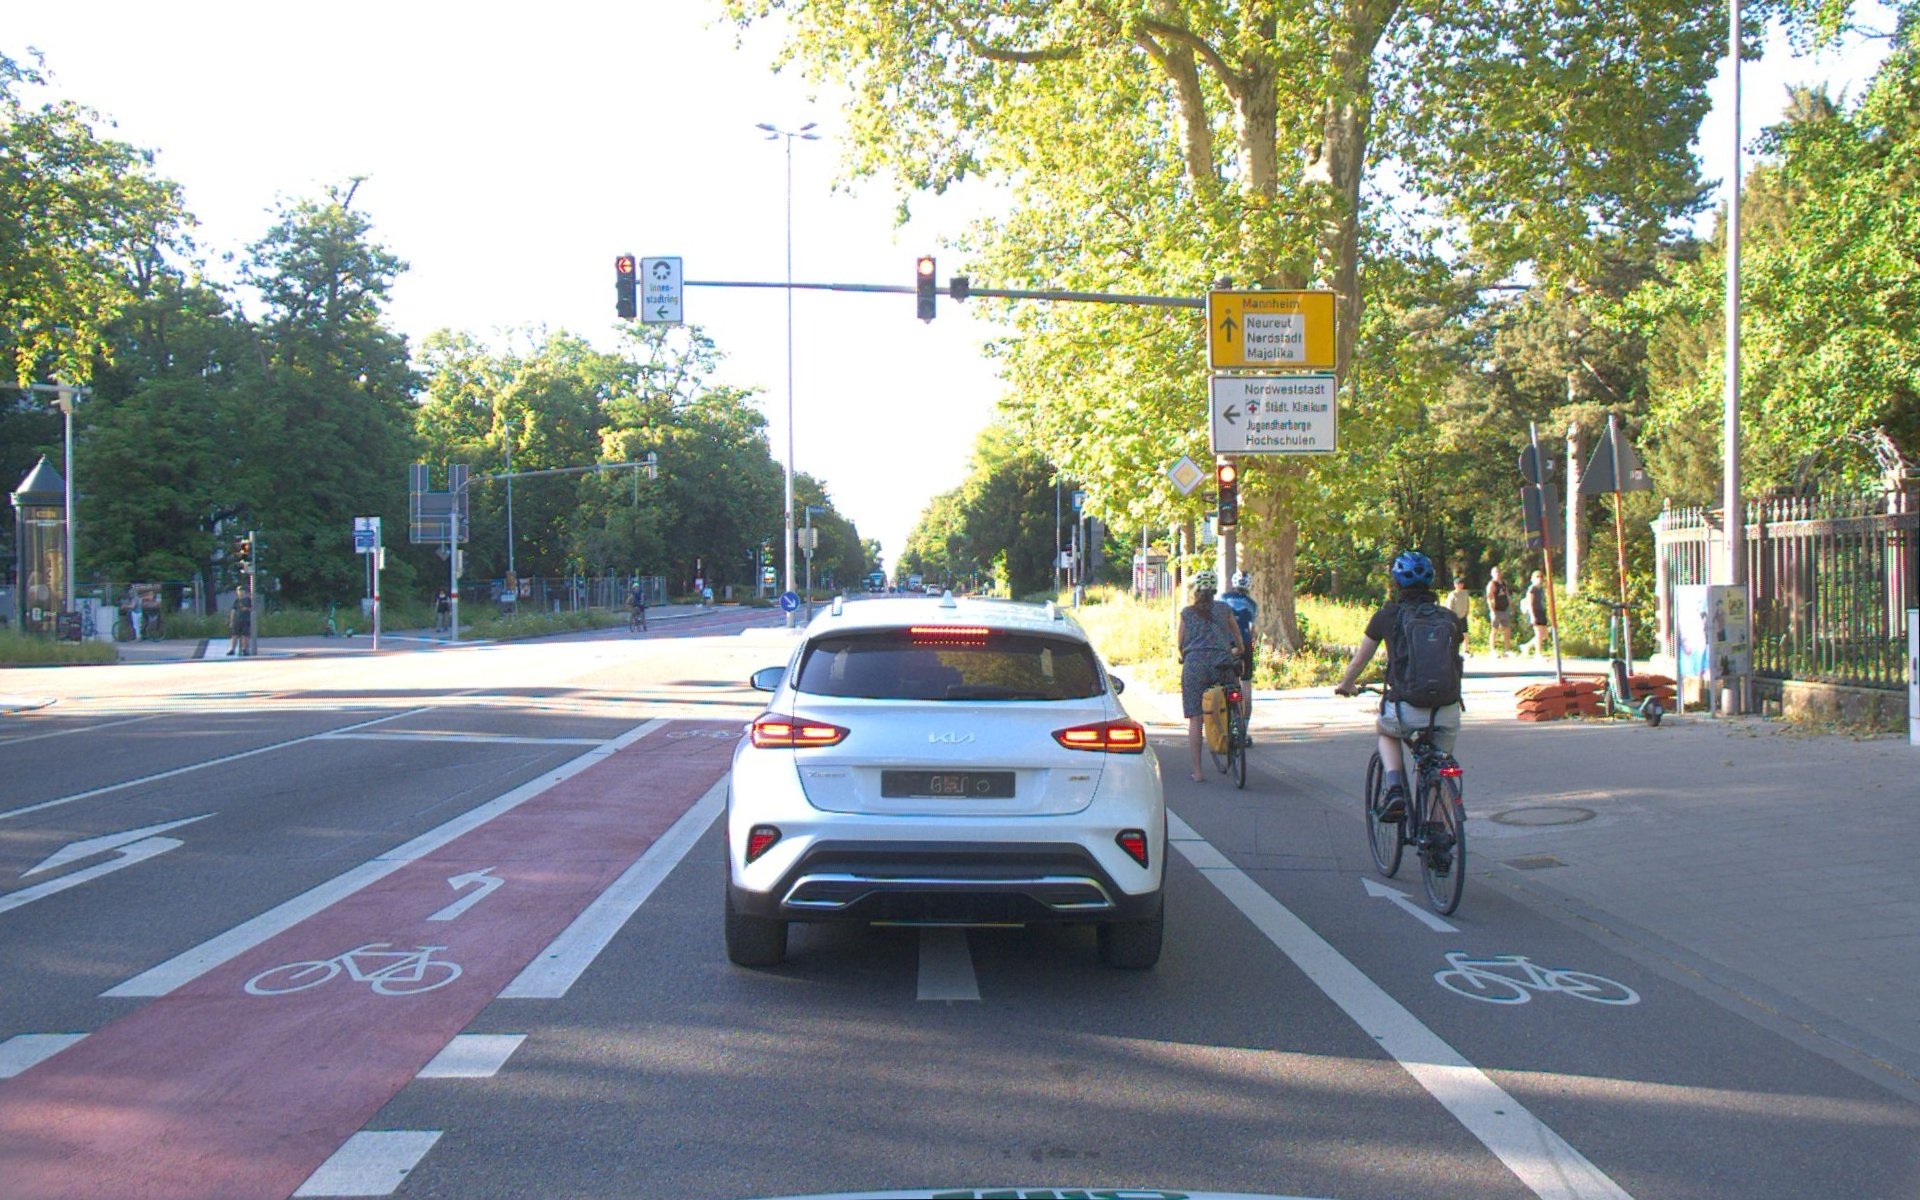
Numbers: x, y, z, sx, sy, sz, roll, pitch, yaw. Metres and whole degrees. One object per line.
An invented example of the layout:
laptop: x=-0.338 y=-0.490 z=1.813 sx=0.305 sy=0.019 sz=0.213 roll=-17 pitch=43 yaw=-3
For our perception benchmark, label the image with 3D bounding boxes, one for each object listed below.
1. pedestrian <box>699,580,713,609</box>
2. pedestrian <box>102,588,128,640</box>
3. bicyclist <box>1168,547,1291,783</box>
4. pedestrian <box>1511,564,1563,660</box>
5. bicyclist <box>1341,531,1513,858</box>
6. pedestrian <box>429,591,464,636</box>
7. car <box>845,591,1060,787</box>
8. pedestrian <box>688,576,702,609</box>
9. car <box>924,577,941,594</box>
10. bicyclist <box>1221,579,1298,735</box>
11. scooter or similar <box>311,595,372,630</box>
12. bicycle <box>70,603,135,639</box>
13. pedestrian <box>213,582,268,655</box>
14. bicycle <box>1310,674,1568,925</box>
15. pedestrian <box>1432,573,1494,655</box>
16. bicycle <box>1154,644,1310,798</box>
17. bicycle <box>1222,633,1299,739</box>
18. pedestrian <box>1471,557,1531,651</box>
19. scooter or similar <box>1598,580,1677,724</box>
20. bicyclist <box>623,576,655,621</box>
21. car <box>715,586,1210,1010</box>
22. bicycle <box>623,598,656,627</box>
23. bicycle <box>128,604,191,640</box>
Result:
pedestrian: x=-15.953 y=-0.362 z=104.023 sx=0.769 sy=1.817 sz=0.751 roll=0 pitch=0 yaw=0
pedestrian: x=-27.355 y=0.442 z=53.536 sx=0.617 sy=1.671 sz=0.444 roll=0 pitch=0 yaw=-11
bicyclist: x=2.176 y=0.505 z=13.485 sx=0.738 sy=1.827 sz=1.164 roll=1 pitch=0 yaw=-2
pedestrian: x=10.690 y=0.217 z=30.643 sx=0.676 sy=1.729 sz=0.643 roll=-1 pitch=0 yaw=-7
bicyclist: x=2.421 y=0.472 z=8.641 sx=0.652 sy=1.630 sz=0.720 roll=1 pitch=0 yaw=-2
pedestrian: x=-18.953 y=0.502 z=61.058 sx=1.067 sy=1.631 sz=0.999 roll=-1 pitch=0 yaw=-7
car: x=-0.129 y=0.698 z=14.979 sx=1.694 sy=1.509 sz=3.515 roll=-1 pitch=1 yaw=-3
pedestrian: x=-16.795 y=-0.458 z=104.671 sx=0.627 sy=2.049 sz=0.754 roll=0 pitch=0 yaw=12
car: x=-3.388 y=-1.754 z=204.835 sx=1.953 sy=2.049 sz=3.999 roll=-1 pitch=1 yaw=-1
bicyclist: x=3.009 y=0.561 z=16.648 sx=0.543 sy=1.504 sz=0.716 roll=-3 pitch=0 yaw=-2
scooter or similar: x=-20.927 y=0.424 z=55.979 sx=0.697 sy=1.144 sz=1.916 roll=0 pitch=0 yaw=32
bicycle: x=-27.878 y=0.679 z=53.805 sx=1.826 sy=1.168 sz=0.442 roll=0 pitch=0 yaw=-8
pedestrian: x=-20.403 y=0.516 z=46.914 sx=0.974 sy=2.049 sz=1.191 roll=0 pitch=0 yaw=4
bicycle: x=2.415 y=0.961 z=8.610 sx=0.655 sy=1.027 sz=2.080 roll=1 pitch=1 yaw=-2
pedestrian: x=9.694 y=0.270 z=31.890 sx=0.804 sy=1.544 sz=0.913 roll=0 pitch=0 yaw=-12
bicycle: x=2.166 y=0.934 z=13.548 sx=0.742 sy=1.031 sz=2.568 roll=1 pitch=1 yaw=-2
bicycle: x=3.026 y=0.845 z=16.769 sx=0.393 sy=0.973 sz=1.550 roll=-3 pitch=0 yaw=-2
pedestrian: x=10.539 y=0.070 z=32.242 sx=0.802 sy=1.802 sz=0.831 roll=-1 pitch=0 yaw=-8
scooter or similar: x=6.583 y=0.479 z=16.098 sx=0.223 sy=1.350 sz=1.171 roll=-1 pitch=0 yaw=-2
bicyclist: x=-11.768 y=-0.055 z=60.650 sx=0.857 sy=1.636 sz=1.188 roll=-1 pitch=0 yaw=1
car: x=-0.059 y=0.693 z=7.922 sx=1.785 sy=1.506 sz=3.935 roll=0 pitch=1 yaw=-2
bicycle: x=-11.752 y=0.455 z=60.708 sx=0.650 sy=1.006 sz=2.504 roll=-1 pitch=1 yaw=1
bicycle: x=-25.929 y=0.711 z=53.583 sx=1.826 sy=1.168 sz=0.290 roll=0 pitch=0 yaw=-8
